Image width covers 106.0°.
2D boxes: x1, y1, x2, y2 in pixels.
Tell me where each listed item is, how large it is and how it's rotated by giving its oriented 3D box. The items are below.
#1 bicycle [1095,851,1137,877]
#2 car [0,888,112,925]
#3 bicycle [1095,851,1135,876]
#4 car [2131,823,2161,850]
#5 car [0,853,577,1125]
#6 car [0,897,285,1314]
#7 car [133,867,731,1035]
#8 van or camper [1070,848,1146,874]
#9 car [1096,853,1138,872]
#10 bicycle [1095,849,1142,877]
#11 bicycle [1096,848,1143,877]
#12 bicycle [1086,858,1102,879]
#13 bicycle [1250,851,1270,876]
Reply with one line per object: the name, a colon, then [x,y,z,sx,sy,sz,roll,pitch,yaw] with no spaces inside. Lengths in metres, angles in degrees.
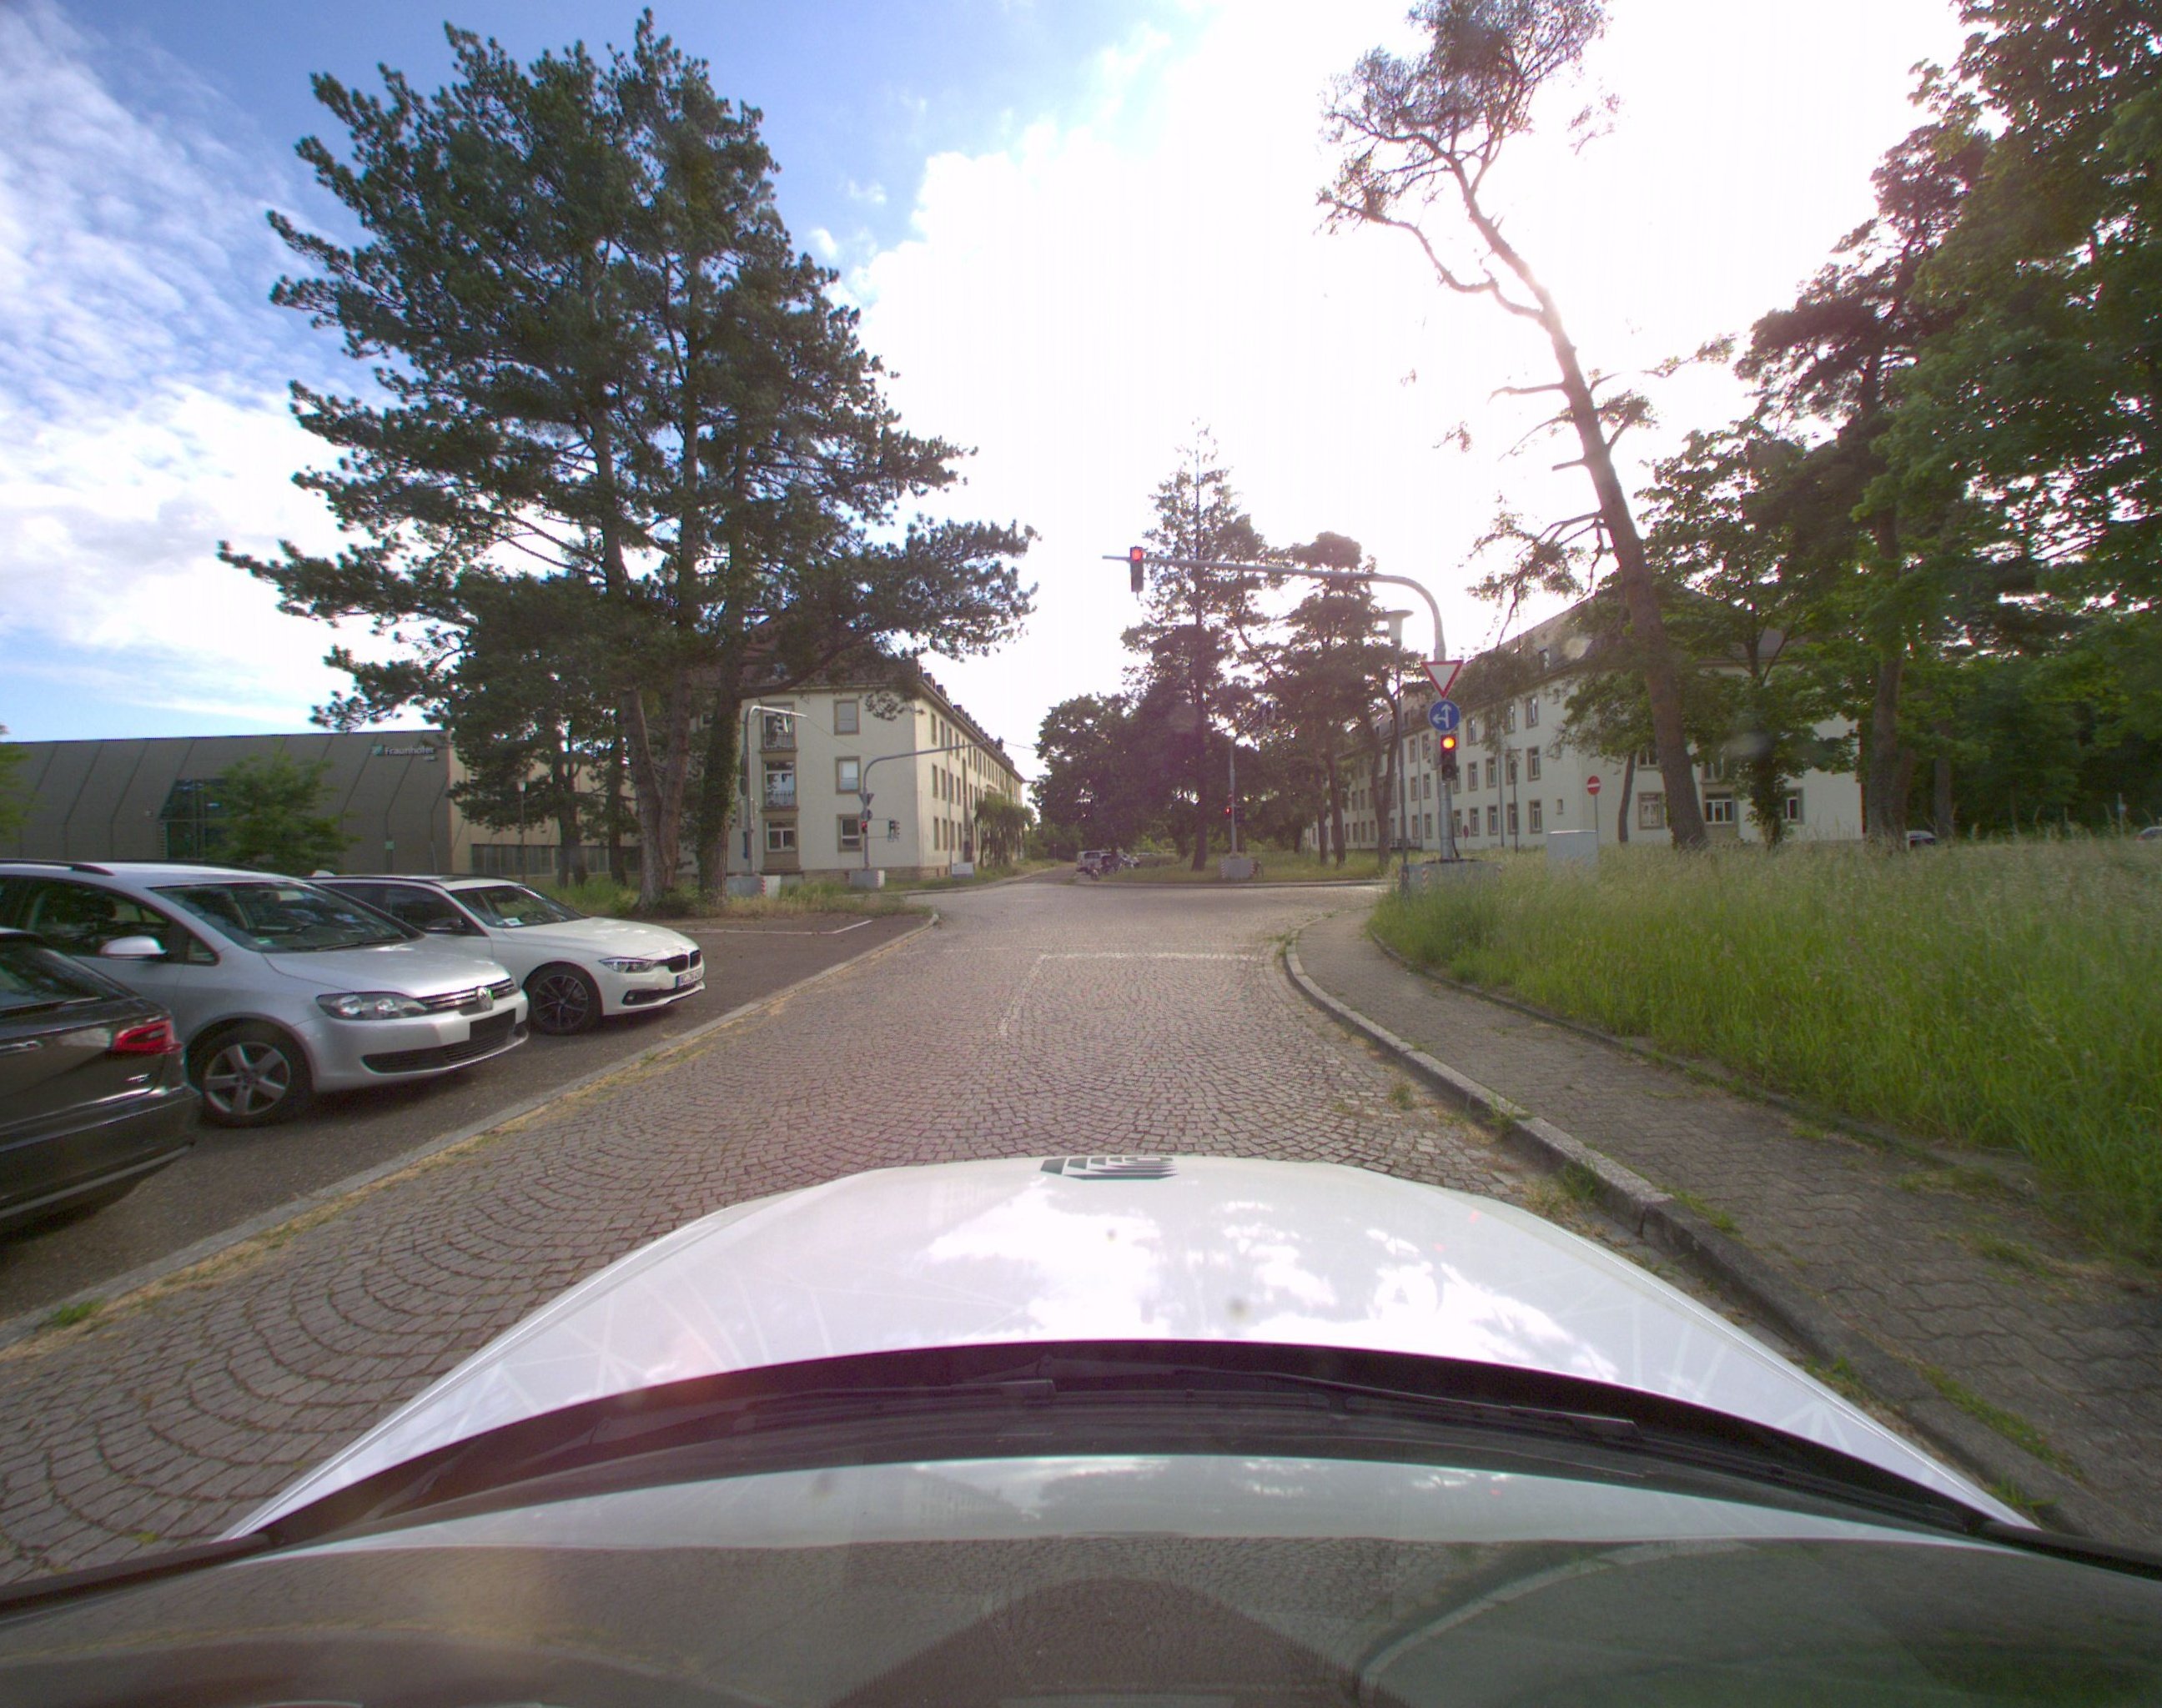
bicycle: [2.395,0.666,54.911,2.762,1.694,1.122,0,0,5]
car: [-47.712,2.397,37.201,1.750,1.414,4.137,-2,0,4]
bicycle: [2.344,0.655,56.250,2.764,1.694,1.121,0,0,2]
car: [58.231,-0.891,42.819,3.972,1.398,1.564,0,0,1]
car: [-6.036,0.814,5.740,3.821,1.607,1.734,1,0,-2]
car: [-5.730,0.900,3.008,3.824,1.408,1.695,1,0,-1]
car: [-6.203,0.901,8.259,4.467,1.442,1.828,1,0,-3]
van or camper: [2.260,0.586,68.129,6.038,1.948,1.991,-2,0,-13]
car: [2.802,0.682,64.542,3.132,1.354,1.617,-2,0,-5]
bicycle: [2.360,0.563,51.345,2.772,1.694,1.118,-2,0,-7]
bicycle: [2.356,0.535,50.151,2.770,1.694,1.118,-2,0,-5]
bicycle: [0.764,0.810,45.890,0.723,1.107,2.464,-6,-1,3]
bicycle: [8.395,0.437,38.269,0.720,1.169,2.743,0,0,8]
